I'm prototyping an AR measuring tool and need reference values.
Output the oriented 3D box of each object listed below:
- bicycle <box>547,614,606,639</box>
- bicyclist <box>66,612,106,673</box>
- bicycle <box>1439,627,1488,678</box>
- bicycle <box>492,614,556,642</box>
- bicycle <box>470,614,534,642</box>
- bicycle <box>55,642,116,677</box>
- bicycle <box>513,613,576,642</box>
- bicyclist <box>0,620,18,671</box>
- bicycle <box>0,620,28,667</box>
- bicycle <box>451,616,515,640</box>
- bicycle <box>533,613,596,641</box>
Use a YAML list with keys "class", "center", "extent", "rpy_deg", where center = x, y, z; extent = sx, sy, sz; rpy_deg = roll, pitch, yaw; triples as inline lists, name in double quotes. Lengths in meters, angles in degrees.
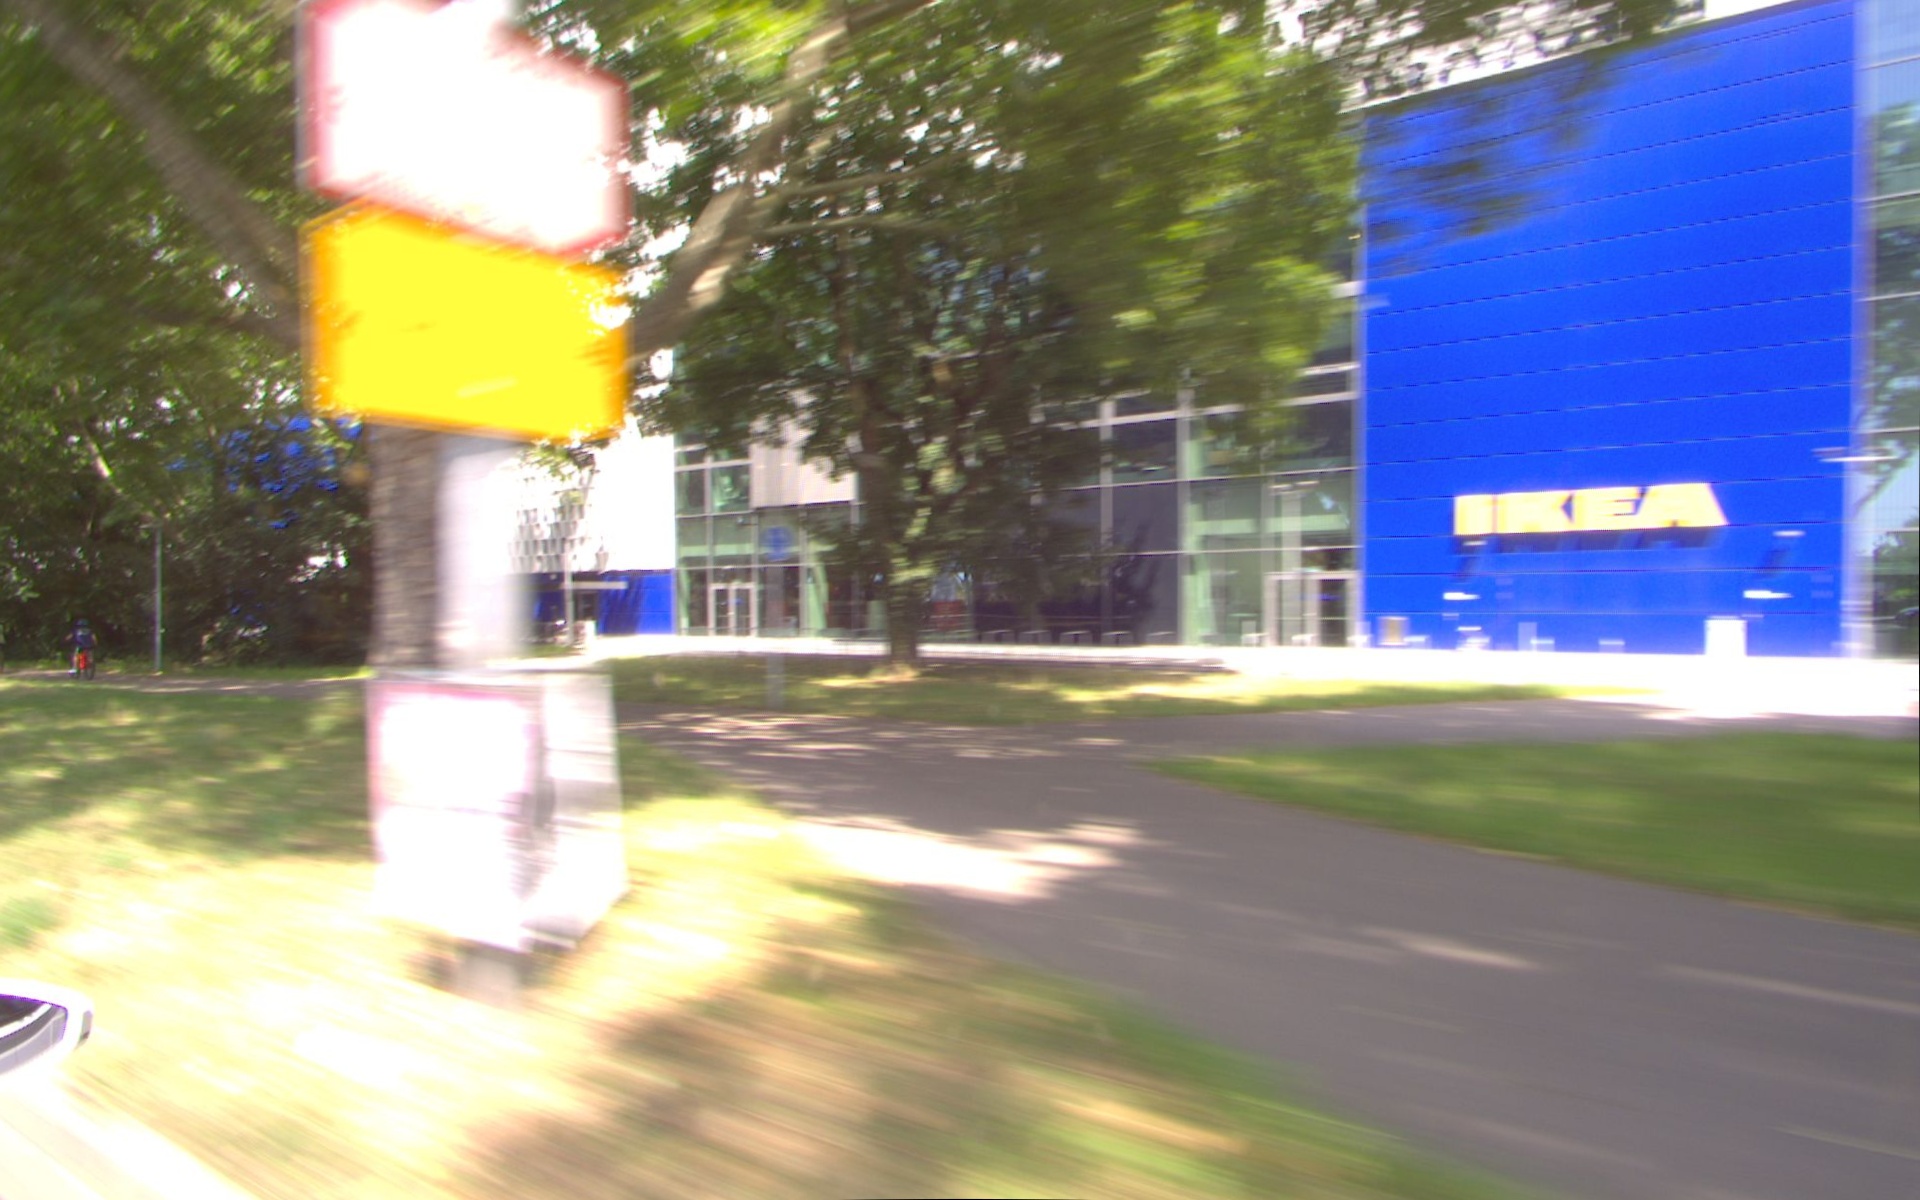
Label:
- class: "bicycle"
  center: [-15.409, 1.064, 40.310]
  extent: [0.747, 0.973, 2.314]
  rpy_deg: [0, 0, 28]
- class: "bicyclist"
  center: [-23.557, 1.129, 26.994]
  extent: [0.805, 1.631, 0.621]
  rpy_deg: [0, 0, 33]
- class: "bicycle"
  center: [10.549, 1.079, 20.962]
  extent: [0.855, 0.981, 2.058]
  rpy_deg: [0, -1, 28]
- class: "bicycle"
  center: [-18.251, 1.138, 41.978]
  extent: [0.747, 1.125, 2.543]
  rpy_deg: [0, 0, 28]
- class: "bicycle"
  center: [-19.416, 1.162, 42.473]
  extent: [0.747, 1.125, 2.543]
  rpy_deg: [0, 0, 28]
- class: "bicycle"
  center: [-23.579, 1.588, 26.984]
  extent: [1.993, 0.898, 0.644]
  rpy_deg: [-1, 0, 31]
- class: "bicycle"
  center: [-17.229, 1.120, 41.610]
  extent: [0.747, 1.125, 2.543]
  rpy_deg: [0, 0, 28]
- class: "bicyclist"
  center: [-30.647, 1.444, 31.906]
  extent: [1.038, 1.620, 0.657]
  rpy_deg: [-1, 0, 33]
- class: "bicycle"
  center: [-30.558, 1.378, 31.891]
  extent: [2.623, 1.438, 0.609]
  rpy_deg: [-1, 0, 32]
- class: "bicycle"
  center: [-20.500, 1.190, 43.100]
  extent: [0.747, 0.983, 2.543]
  rpy_deg: [0, 0, 28]
- class: "bicycle"
  center: [-16.205, 1.099, 41.148]
  extent: [0.747, 1.125, 2.543]
  rpy_deg: [0, 0, 28]
